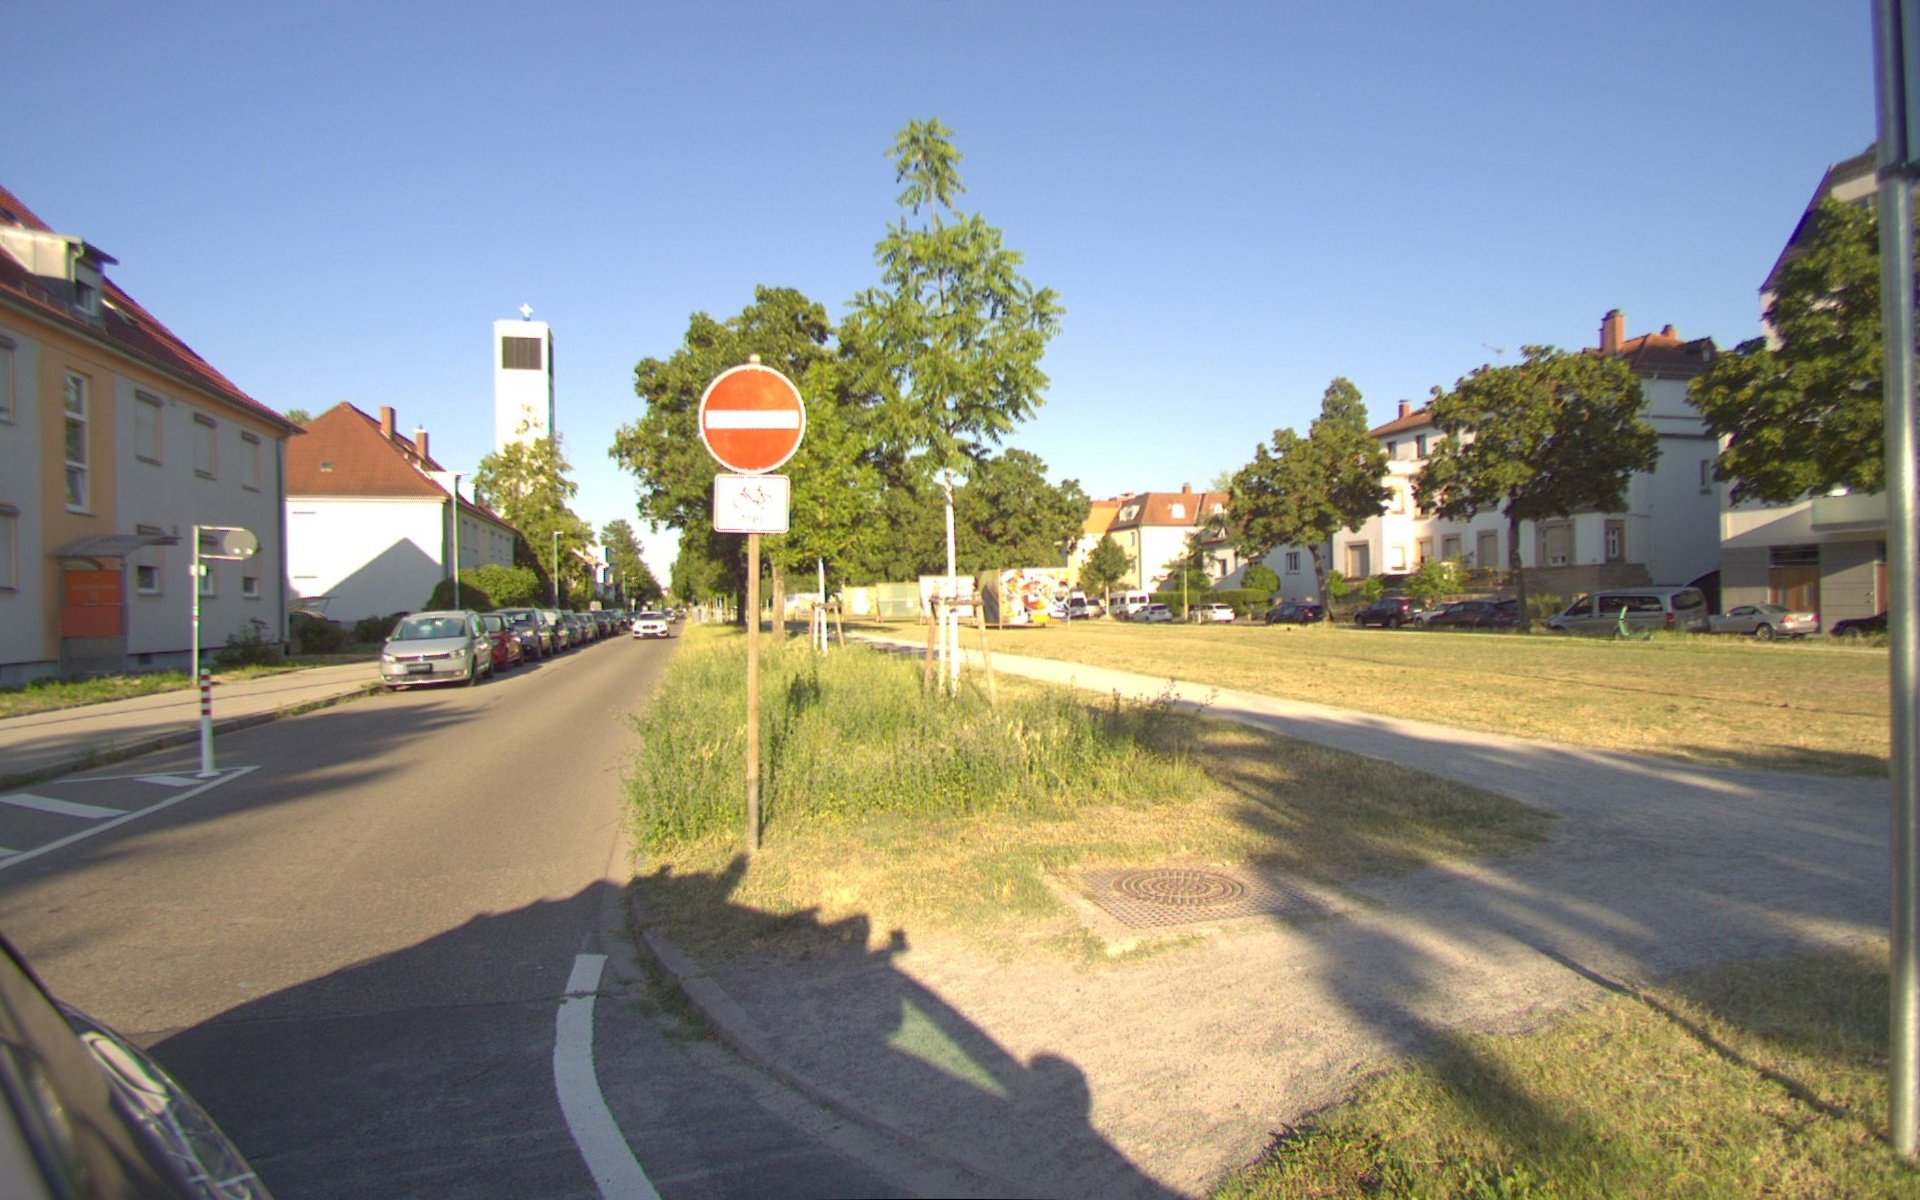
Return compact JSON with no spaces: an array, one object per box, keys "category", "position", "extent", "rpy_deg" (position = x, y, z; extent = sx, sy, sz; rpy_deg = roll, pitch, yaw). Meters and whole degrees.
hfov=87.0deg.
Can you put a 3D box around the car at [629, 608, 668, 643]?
[{"category":"car","position":[-16.540,1.317,53.683],"extent":[1.839,1.708,4.314],"rpy_deg":[-3,0,-17]}]

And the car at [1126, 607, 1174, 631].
[{"category":"car","position":[13.233,1.334,70.809],"extent":[1.795,1.592,3.847],"rpy_deg":[-1,0,-15]}]

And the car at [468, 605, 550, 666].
[{"category":"car","position":[-14.167,1.074,31.998],"extent":[1.819,1.708,4.012],"rpy_deg":[-3,0,-17]}]

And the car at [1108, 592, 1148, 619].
[{"category":"car","position":[14.453,0.502,87.483],"extent":[1.967,2.230,4.141],"rpy_deg":[-1,0,-12]}]

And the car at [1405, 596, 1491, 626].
[{"category":"car","position":[24.537,0.558,51.017],"extent":[1.615,1.457,4.020],"rpy_deg":[0,-1,-16]}]

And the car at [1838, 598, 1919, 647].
[{"category":"car","position":[30.025,0.685,31.349],"extent":[1.649,1.474,4.011],"rpy_deg":[-1,0,-15]}]

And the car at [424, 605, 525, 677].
[{"category":"car","position":[-13.008,1.042,27.338],"extent":[1.819,1.708,4.012],"rpy_deg":[-3,0,-17]}]

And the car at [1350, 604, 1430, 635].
[{"category":"car","position":[23.378,1.054,55.147],"extent":[1.795,1.592,4.174],"rpy_deg":[-1,0,-15]}]

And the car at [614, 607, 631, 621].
[{"category":"car","position":[-42.198,1.749,126.570],"extent":[1.819,1.708,4.012],"rpy_deg":[-3,0,-17]}]

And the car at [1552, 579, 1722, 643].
[{"category":"car","position":[23.159,0.359,34.863],"extent":[2.044,2.029,4.589],"rpy_deg":[-1,0,-16]}]

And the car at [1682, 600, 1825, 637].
[{"category":"car","position":[28.328,0.654,36.276],"extent":[1.598,1.250,3.742],"rpy_deg":[0,-1,-19]}]

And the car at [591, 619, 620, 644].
[{"category":"car","position":[-25.718,2.234,73.472],"extent":[1.776,1.730,3.355],"rpy_deg":[0,0,-16]}]

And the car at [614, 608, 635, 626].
[{"category":"car","position":[-33.715,1.674,101.801],"extent":[1.819,1.708,4.012],"rpy_deg":[-3,0,-17]}]

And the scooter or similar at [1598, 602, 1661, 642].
[{"category":"scooter or similar","position":[19.736,0.646,29.866],"extent":[0.445,1.124,1.653],"rpy_deg":[-1,0,-15]}]

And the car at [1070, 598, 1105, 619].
[{"category":"car","position":[12.256,0.837,97.639],"extent":[1.967,1.960,4.141],"rpy_deg":[-1,0,-12]}]

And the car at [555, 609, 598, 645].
[{"category":"car","position":[-20.289,1.387,53.656],"extent":[1.819,1.708,4.012],"rpy_deg":[-3,0,-17]}]

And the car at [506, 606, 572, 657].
[{"category":"car","position":[-15.617,1.115,37.722],"extent":[1.819,1.708,4.012],"rpy_deg":[-3,0,-17]}]

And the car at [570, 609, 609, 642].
[{"category":"car","position":[-21.267,1.442,58.175],"extent":[1.819,1.708,4.012],"rpy_deg":[-3,0,-17]}]

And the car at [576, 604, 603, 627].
[{"category":"car","position":[-30.166,1.261,82.544],"extent":[1.819,1.708,4.012],"rpy_deg":[-3,0,-17]}]

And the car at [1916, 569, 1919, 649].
[{"category":"car","position":[25.916,0.194,23.703],"extent":[1.998,2.029,4.708],"rpy_deg":[-1,0,-16]}]

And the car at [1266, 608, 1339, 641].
[{"category":"car","position":[17.988,1.258,53.294],"extent":[1.795,1.592,3.847],"rpy_deg":[-1,0,-15]}]

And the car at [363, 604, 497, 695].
[{"category":"car","position":[-11.399,0.994,22.030],"extent":[1.819,1.708,4.012],"rpy_deg":[-3,0,-17]}]

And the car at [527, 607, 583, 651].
[{"category":"car","position":[-17.206,1.182,43.118],"extent":[1.819,1.708,4.012],"rpy_deg":[-3,0,-17]}]

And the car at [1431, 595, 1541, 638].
[{"category":"car","position":[21.141,0.648,40.846],"extent":[1.795,1.592,3.847],"rpy_deg":[-1,0,-15]}]

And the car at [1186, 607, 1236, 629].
[{"category":"car","position":[18.284,1.295,73.950],"extent":[1.795,1.592,3.978],"rpy_deg":[-1,0,-15]}]

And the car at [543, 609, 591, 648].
[{"category":"car","position":[-18.838,1.349,48.657],"extent":[1.819,1.708,4.012],"rpy_deg":[-3,0,-17]}]

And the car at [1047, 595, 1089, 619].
[{"category":"car","position":[9.110,0.578,85.792],"extent":[2.192,1.960,4.520],"rpy_deg":[-1,0,-12]}]
